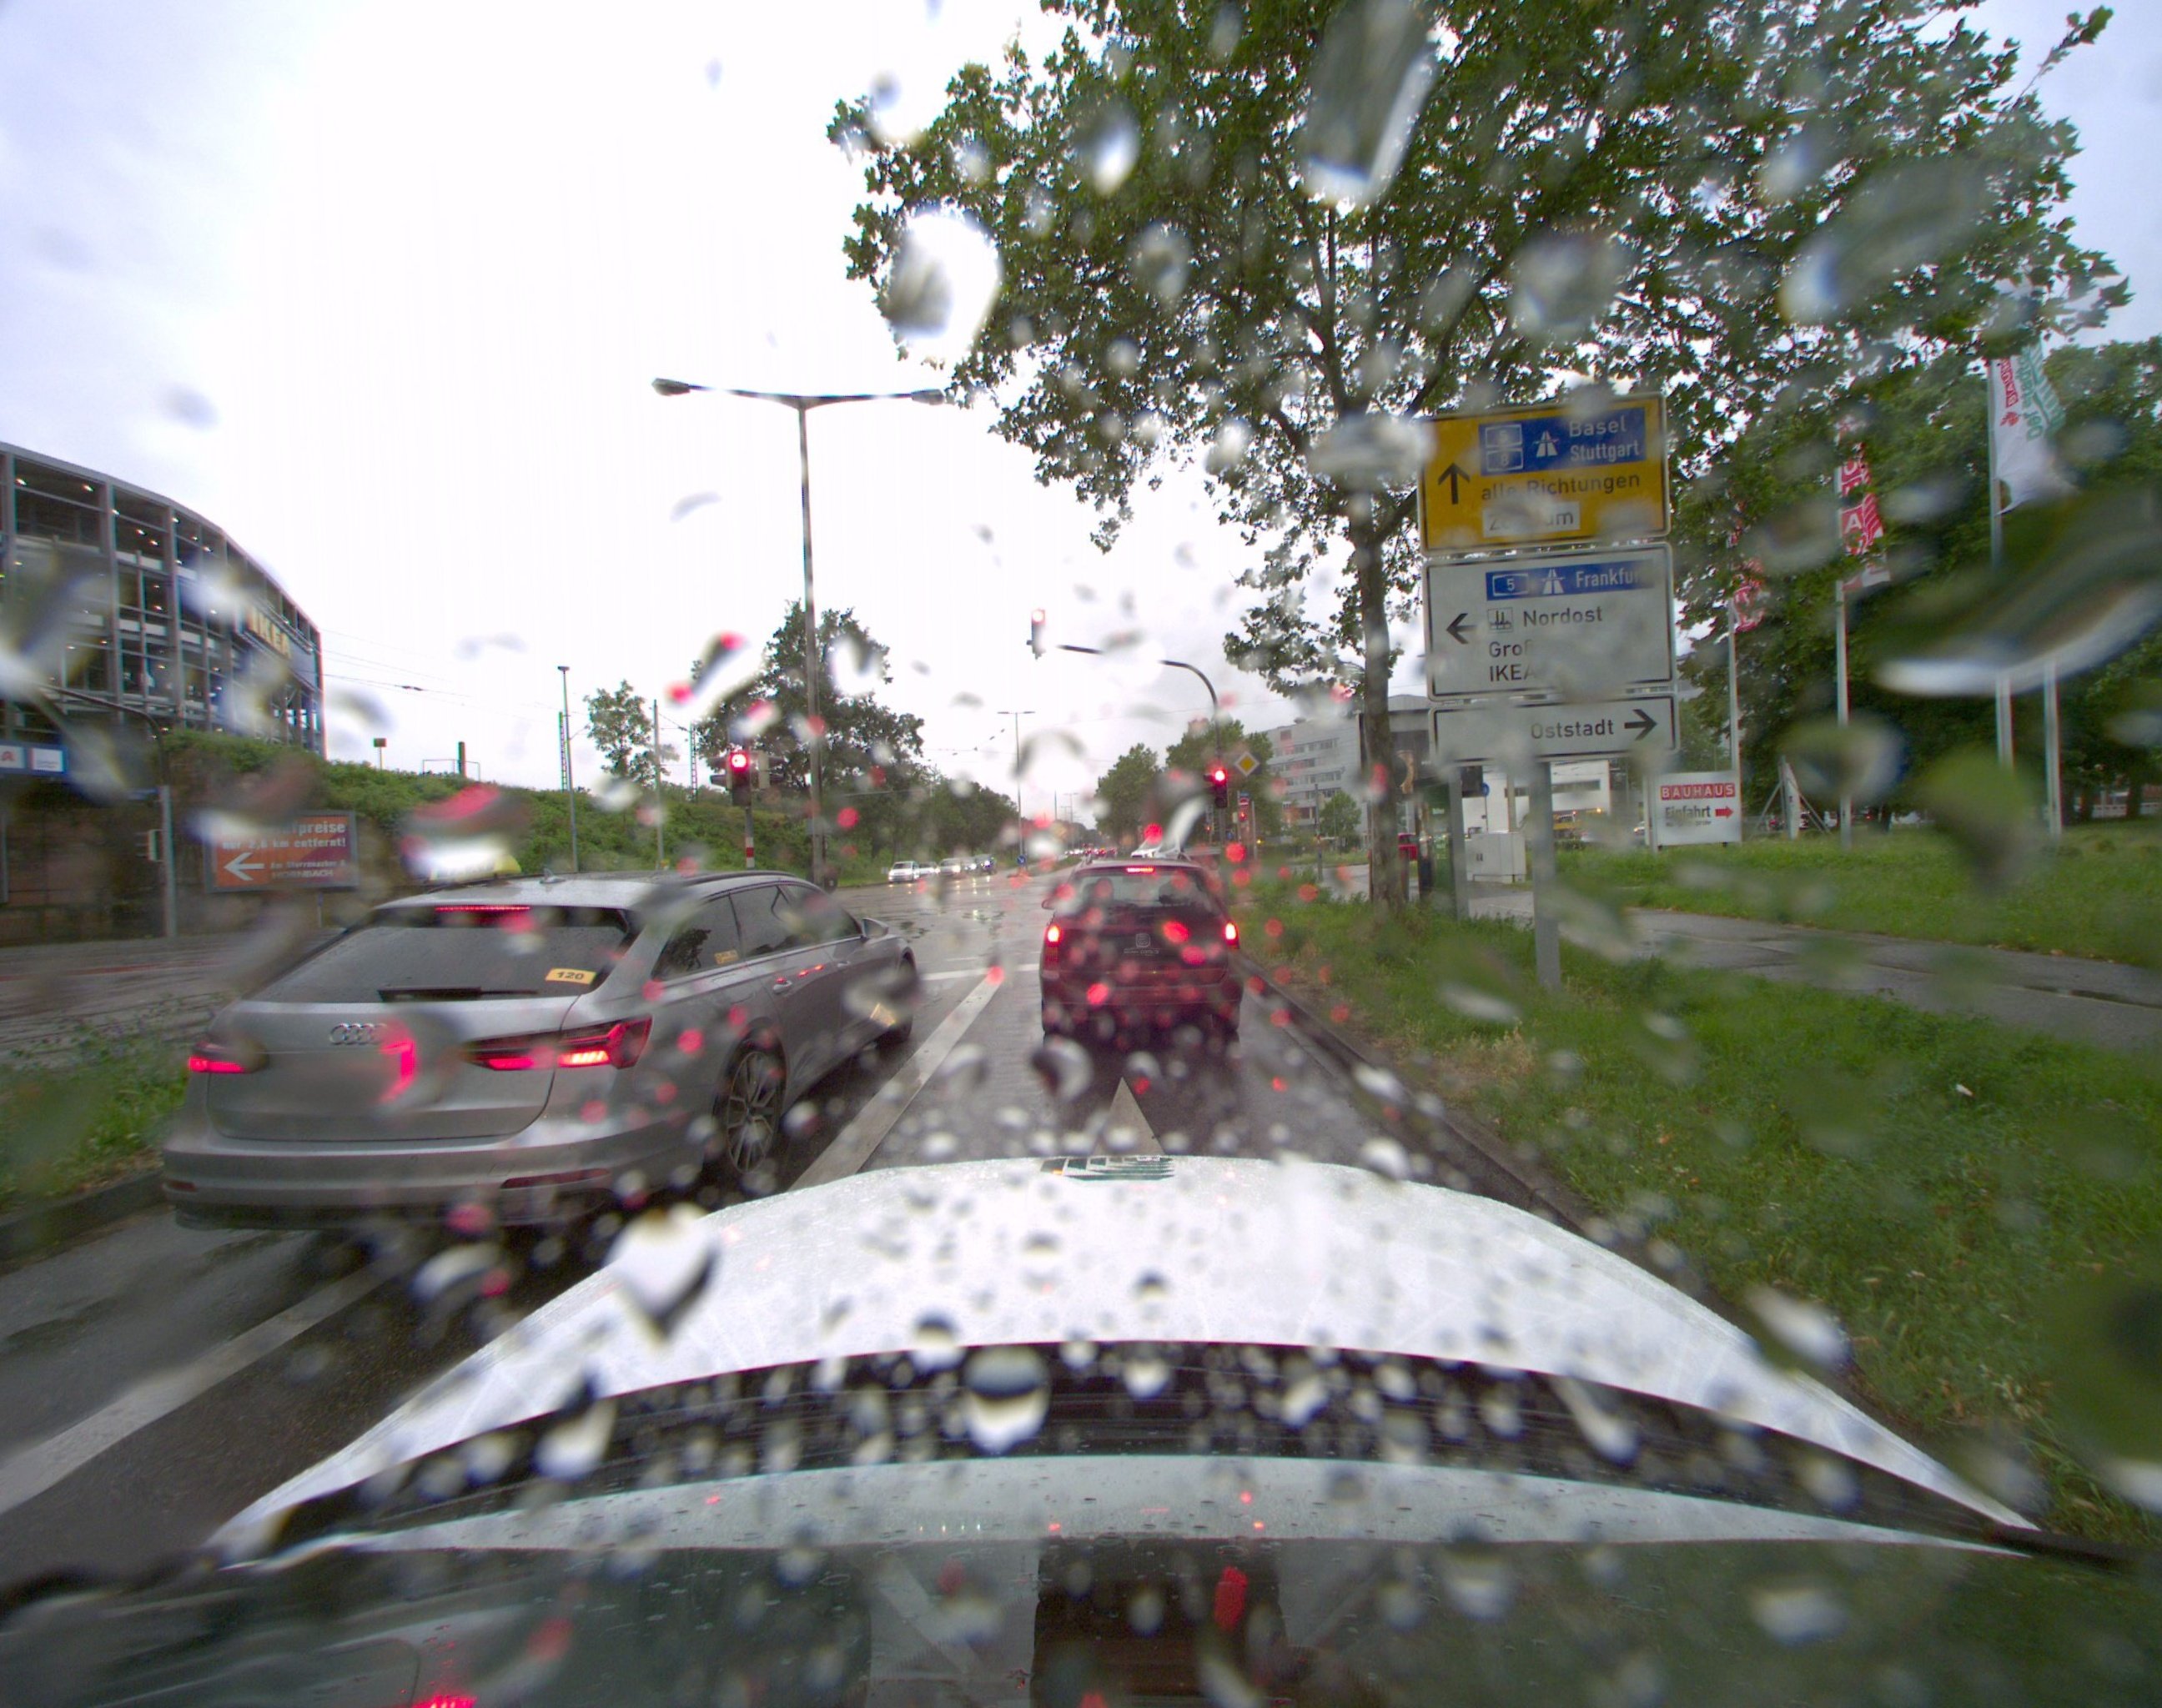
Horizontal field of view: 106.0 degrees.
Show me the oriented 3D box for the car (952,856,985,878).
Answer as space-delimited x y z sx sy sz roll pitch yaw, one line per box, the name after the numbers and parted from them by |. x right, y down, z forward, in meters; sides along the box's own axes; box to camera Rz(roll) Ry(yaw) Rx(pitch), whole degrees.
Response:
-8.734 0.988 63.643 1.756 1.586 4.813 -3 -1 0 | car

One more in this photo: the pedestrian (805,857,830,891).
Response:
-14.951 1.101 46.215 1.102 1.847 1.126 -3 0 -10 | pedestrian

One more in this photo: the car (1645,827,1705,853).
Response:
40.940 -0.979 56.133 4.645 1.586 1.906 -2 -1 -35 | car

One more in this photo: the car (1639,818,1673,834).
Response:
65.699 -3.161 93.087 4.259 1.726 1.723 -1 0 -33 | car

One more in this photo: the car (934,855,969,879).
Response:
-8.947 0.869 56.536 1.632 1.473 3.966 -3 0 1 | car

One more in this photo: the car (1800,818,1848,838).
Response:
64.812 -2.302 71.017 4.643 1.586 1.907 -2 -1 -33 | car

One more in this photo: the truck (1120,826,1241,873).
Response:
5.672 -0.302 45.900 6.898 2.365 2.455 -3 0 -36 | truck

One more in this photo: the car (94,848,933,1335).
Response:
-2.289 0.761 5.065 1.763 1.574 4.822 0 0 1 | car

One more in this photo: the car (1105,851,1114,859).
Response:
5.976 0.128 170.018 1.664 1.528 3.849 -3 0 3 | car

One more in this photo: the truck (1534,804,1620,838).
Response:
57.974 -3.817 95.389 3.342 3.507 7.806 -3 0 -33 | truck

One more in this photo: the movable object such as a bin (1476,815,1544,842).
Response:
53.775 -3.167 102.171 3.342 2.995 6.650 -3 0 -34 | movable object such as a bin

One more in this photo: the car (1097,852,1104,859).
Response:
4.669 0.378 194.221 1.691 1.528 3.849 -3 0 3 | car

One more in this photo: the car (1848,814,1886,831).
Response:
82.680 -3.296 85.677 4.645 1.586 1.907 -2 -1 -34 | car

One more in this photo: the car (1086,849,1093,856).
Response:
2.114 -0.324 202.714 1.691 1.528 3.849 -3 0 3 | car

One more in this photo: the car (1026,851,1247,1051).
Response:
0.446 0.714 7.923 1.636 1.465 3.733 0 0 1 | car

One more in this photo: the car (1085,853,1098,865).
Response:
1.675 0.814 131.495 1.987 1.790 3.999 0 -1 0 | car

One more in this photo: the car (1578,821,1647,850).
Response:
33.451 -1.173 51.234 4.644 1.586 1.907 -2 0 -34 | car

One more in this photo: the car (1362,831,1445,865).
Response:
15.359 -0.303 38.764 3.829 1.491 1.662 -2 0 -31 | car

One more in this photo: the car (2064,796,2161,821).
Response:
88.540 -3.886 69.315 2.286 1.731 5.899 -3 0 -33 | car

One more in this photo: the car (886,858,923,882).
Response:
-11.977 1.058 55.562 1.633 1.452 3.786 -3 0 0 | car

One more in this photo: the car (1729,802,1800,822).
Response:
66.914 -4.047 79.821 1.888 1.655 5.008 0 -1 -33 | car

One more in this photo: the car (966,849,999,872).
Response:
-8.644 0.523 71.854 2.058 1.819 5.542 -3 0 1 | car

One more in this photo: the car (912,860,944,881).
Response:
-11.574 1.218 61.882 1.585 1.404 3.823 -3 0 1 | car
